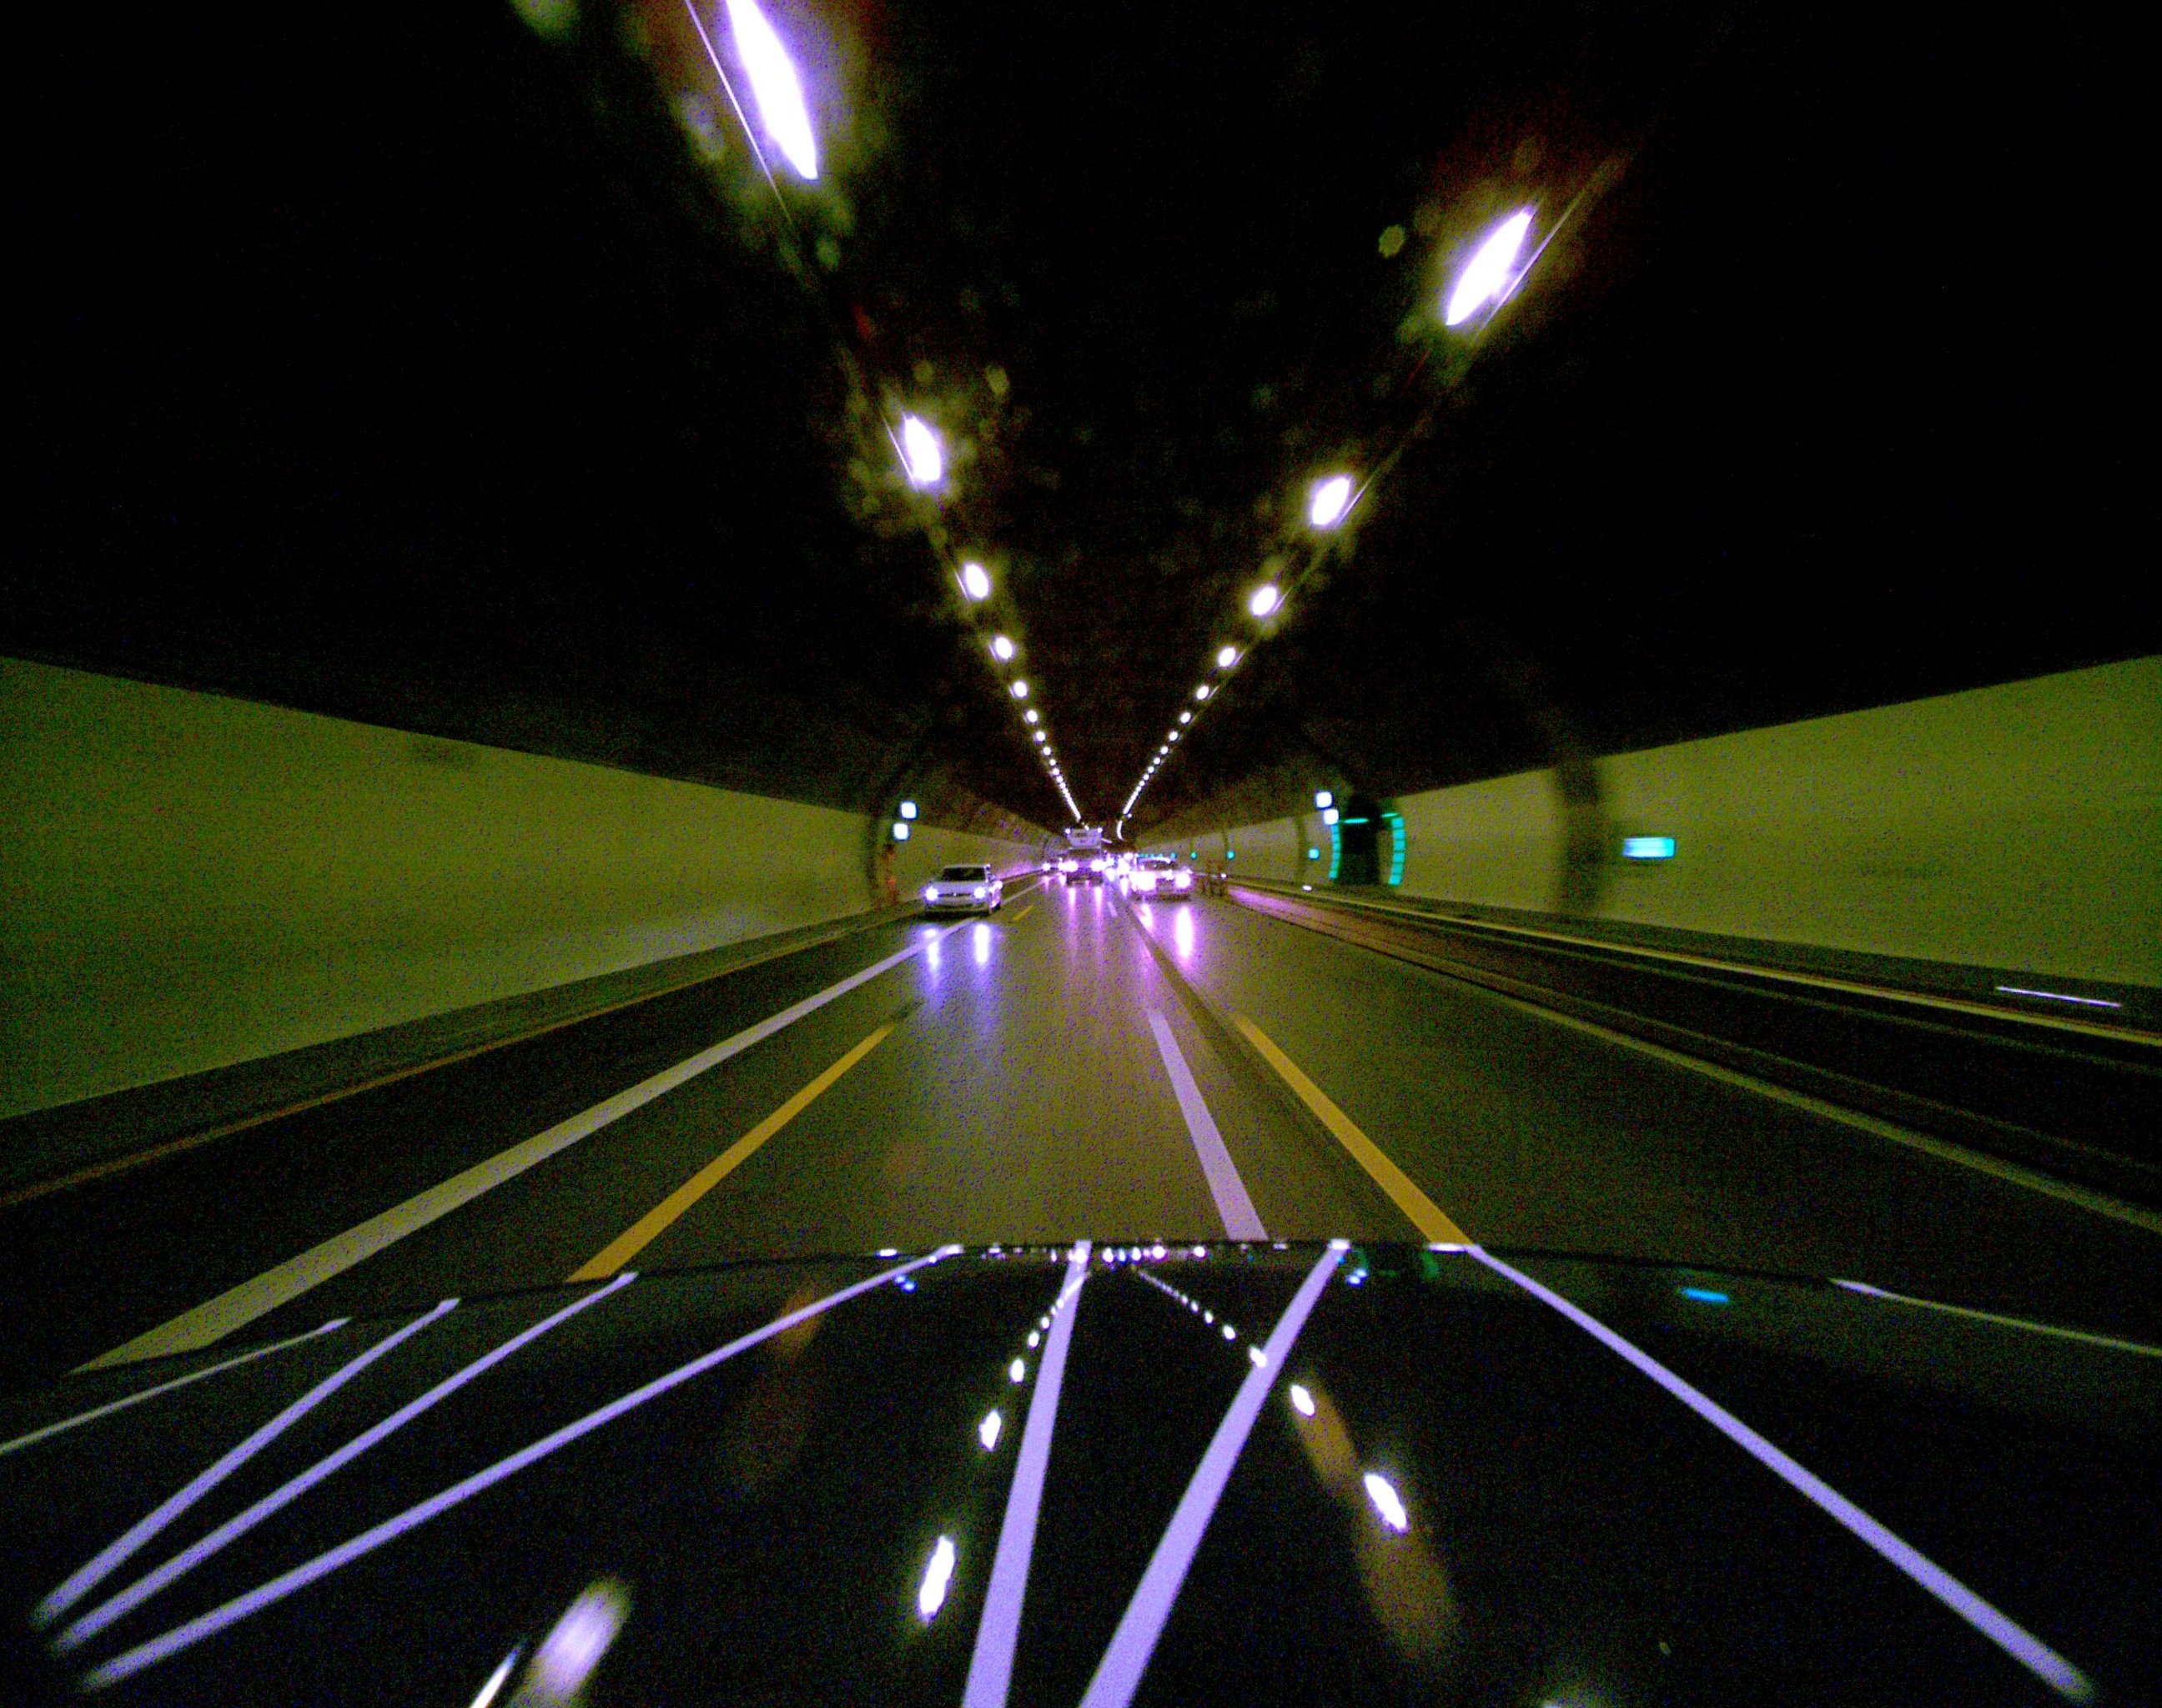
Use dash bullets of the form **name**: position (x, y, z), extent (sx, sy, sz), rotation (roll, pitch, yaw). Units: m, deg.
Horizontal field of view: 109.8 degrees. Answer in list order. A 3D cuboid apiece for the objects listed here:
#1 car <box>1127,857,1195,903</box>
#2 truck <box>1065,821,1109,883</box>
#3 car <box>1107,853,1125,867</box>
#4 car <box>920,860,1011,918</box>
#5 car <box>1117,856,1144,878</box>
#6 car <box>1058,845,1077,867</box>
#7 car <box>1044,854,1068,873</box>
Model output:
- **car**: position (2.791, 0.871, 27.446), extent (1.908, 1.476, 4.943), rotation (-1, 0, 0)
- **truck**: position (0.365, -0.131, 45.041), extent (2.262, 3.238, 7.382), rotation (-2, 0, 0)
- **car**: position (4.459, 0.781, 96.844), extent (1.958, 1.528, 4.757), rotation (-5, 1, 0)
- **car**: position (-3.232, 0.938, 22.054), extent (1.801, 1.452, 4.035), rotation (-2, 0, 2)
- **car**: position (3.379, 0.888, 52.370), extent (1.657, 1.395, 3.656), rotation (-2, 0, 0)
- **car**: position (-1.731, 0.208, 97.807), extent (2.124, 2.629, 6.229), rotation (-3, 1, 0)
- **car**: position (-2.280, 0.816, 69.420), extent (1.958, 1.528, 4.757), rotation (-3, 1, 0)
